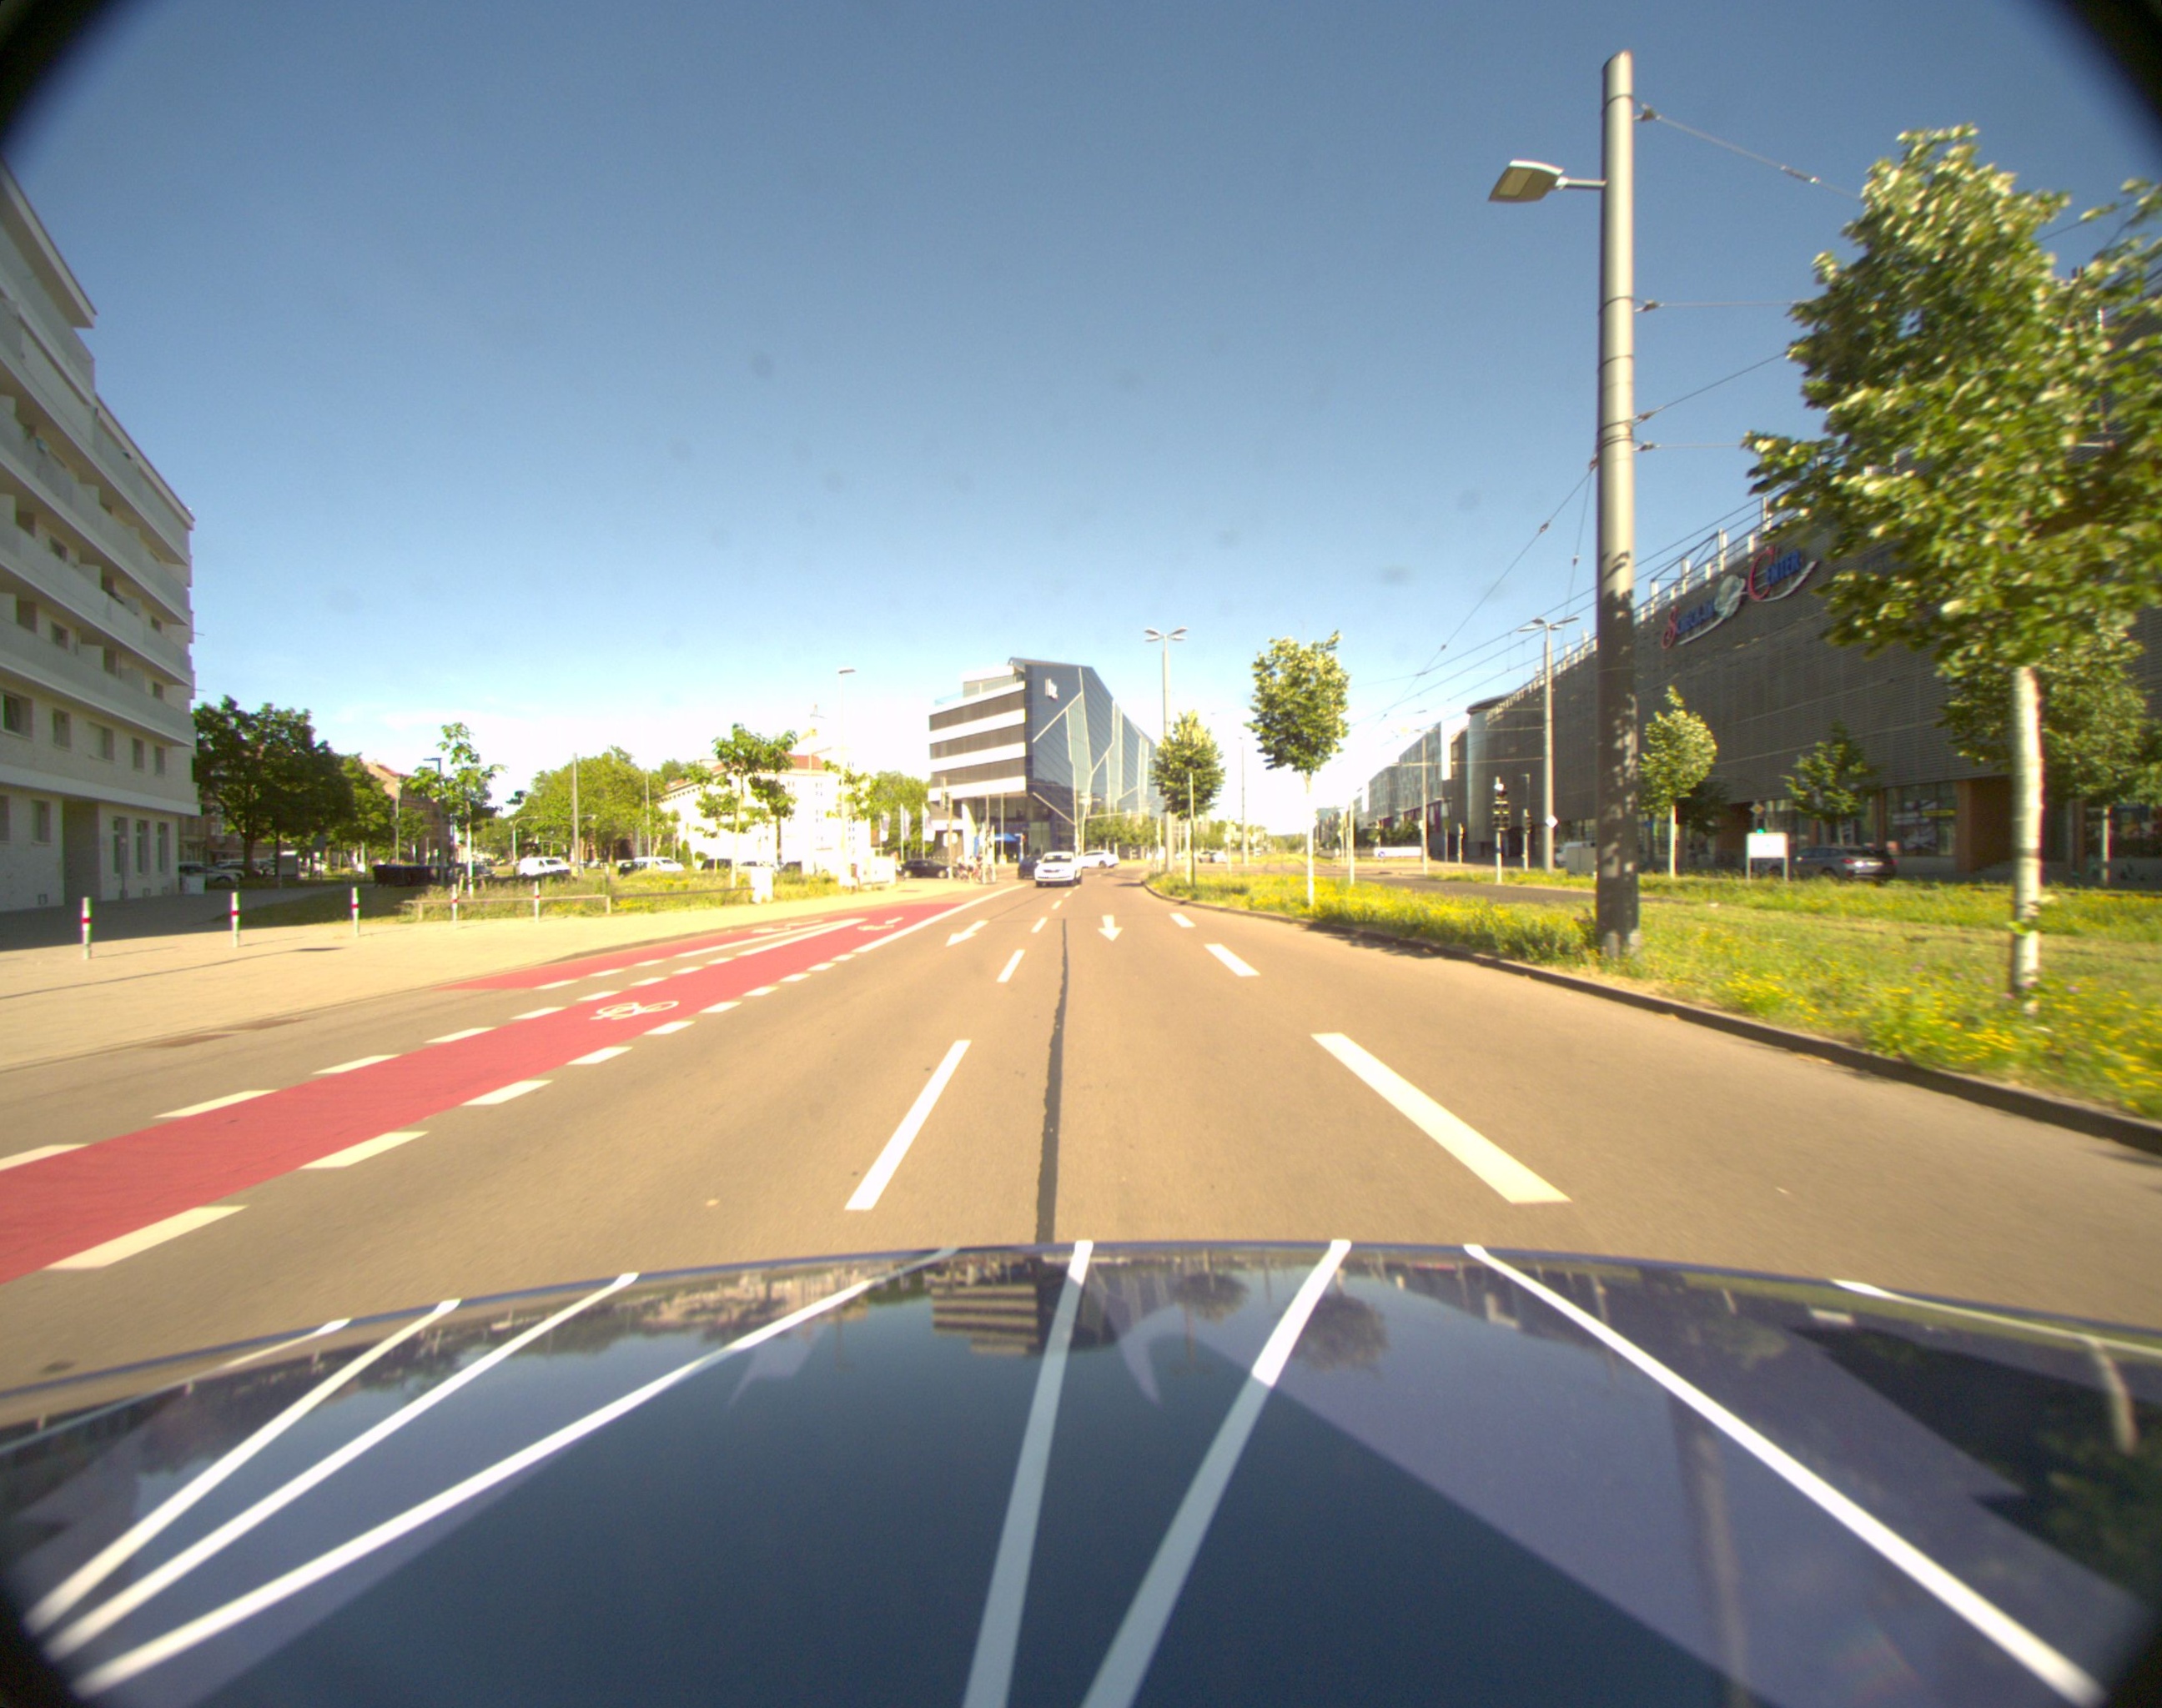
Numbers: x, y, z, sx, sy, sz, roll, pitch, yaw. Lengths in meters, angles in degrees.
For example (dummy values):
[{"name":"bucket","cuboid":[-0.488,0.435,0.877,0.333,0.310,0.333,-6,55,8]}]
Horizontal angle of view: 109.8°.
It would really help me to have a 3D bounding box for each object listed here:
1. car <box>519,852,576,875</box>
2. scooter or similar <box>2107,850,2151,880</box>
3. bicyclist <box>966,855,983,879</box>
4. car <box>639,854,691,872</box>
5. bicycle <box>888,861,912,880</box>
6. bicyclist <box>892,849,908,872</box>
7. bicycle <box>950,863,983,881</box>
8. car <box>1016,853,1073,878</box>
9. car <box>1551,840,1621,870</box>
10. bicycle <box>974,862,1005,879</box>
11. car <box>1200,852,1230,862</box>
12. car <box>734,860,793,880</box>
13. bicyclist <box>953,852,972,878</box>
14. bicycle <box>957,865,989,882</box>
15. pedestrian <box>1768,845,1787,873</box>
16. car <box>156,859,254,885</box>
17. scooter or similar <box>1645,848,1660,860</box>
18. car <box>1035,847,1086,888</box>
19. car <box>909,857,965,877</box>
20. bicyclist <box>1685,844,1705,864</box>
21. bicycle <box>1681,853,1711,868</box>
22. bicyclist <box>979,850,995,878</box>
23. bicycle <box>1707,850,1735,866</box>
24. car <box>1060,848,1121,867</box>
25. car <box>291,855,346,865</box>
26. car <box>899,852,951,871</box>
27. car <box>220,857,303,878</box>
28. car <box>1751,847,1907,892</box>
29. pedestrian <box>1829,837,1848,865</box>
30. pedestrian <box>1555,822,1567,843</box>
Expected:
[{"name":"car","cuboid":[-47.800,0.849,68.107,4.644,1.970,1.877,0,1,21]},{"name":"scooter or similar","cuboid":[40.391,0.412,29.306,0.276,1.096,1.207,0,2,15]},{"name":"bicyclist","cuboid":[-6.235,0.763,44.353,0.826,1.395,0.590,1,0,13]},{"name":"car","cuboid":[-37.382,0.814,68.301,3.991,1.547,1.877,0,1,18]},{"name":"bicycle","cuboid":[-11.032,1.004,46.255,0.698,1.098,2.006,2,-1,-37]},{"name":"bicyclist","cuboid":[-11.024,0.383,46.261,0.698,1.369,0.736,2,0,-37]},{"name":"bicycle","cuboid":[-7.622,1.168,50.469,2.007,1.098,0.698,2,-1,19]},{"name":"car","cuboid":[-2.445,0.732,50.027,1.878,1.547,3.989,-1,1,-35]},{"name":"car","cuboid":[35.463,0.030,53.573,2.224,2.002,5.260,-1,1,11]},{"name":"bicycle","cuboid":[-5.884,1.061,48.794,1.893,1.032,0.607,1,0,7]},{"name":"car","cuboid":[14.986,0.292,85.308,2.001,1.084,3.995,-1,0,-12]},{"name":"car","cuboid":[-25.514,1.283,61.075,3.992,1.547,1.877,0,1,15]},{"name":"bicyclist","cuboid":[-7.864,0.721,50.564,1.001,1.645,0.596,3,1,19]},{"name":"bicycle","cuboid":[-6.298,1.116,44.398,1.704,0.948,0.697,1,0,13]},{"name":"pedestrian","cuboid":[36.344,0.250,39.646,0.489,1.478,0.742,0,1,23]},{"name":"car","cuboid":[-61.687,1.258,53.588,1.996,1.652,4.004,-1,1,15]},{"name":"scooter or similar","cuboid":[40.592,0.013,53.971,0.301,0.846,1.228,-1,1,10]},{"name":"car","cuboid":[-0.910,0.595,36.676,1.872,1.621,4.338,-1,3,6]},{"name":"car","cuboid":[-10.911,0.989,57.614,3.830,1.425,1.588,0,1,16]},{"name":"bicyclist","cuboid":[42.367,0.001,52.418,0.592,1.399,1.314,0,1,14]},{"name":"bicycle","cuboid":[42.402,0.427,52.423,0.597,1.004,2.571,0,1,14]},{"name":"bicyclist","cuboid":[-6.057,0.627,48.813,0.905,1.788,0.550,1,0,7]},{"name":"bicycle","cuboid":[44.345,0.262,52.676,0.572,1.032,1.952,-1,1,9]},{"name":"car","cuboid":[0.845,0.334,71.738,5.531,1.642,1.817,0,1,30]},{"name":"car","cuboid":[-96.565,0.721,96.289,1.996,1.203,4.405,0,1,15]},{"name":"car","cuboid":[-12.747,0.581,62.193,3.829,1.423,1.670,-1,4,13]},{"name":"car","cuboid":[-73.575,1.204,68.302,1.729,1.761,4.799,-1,1,15]},{"name":"car","cuboid":[29.996,0.567,30.702,1.998,1.671,4.539,-1,1,4]},{"name":"pedestrian","cuboid":[40.798,-0.171,40.927,0.490,1.510,0.650,0,1,18]},{"name":"pedestrian","cuboid":[41.063,-1.848,65.011,0.589,1.741,0.625,-1,1,-5]}]
